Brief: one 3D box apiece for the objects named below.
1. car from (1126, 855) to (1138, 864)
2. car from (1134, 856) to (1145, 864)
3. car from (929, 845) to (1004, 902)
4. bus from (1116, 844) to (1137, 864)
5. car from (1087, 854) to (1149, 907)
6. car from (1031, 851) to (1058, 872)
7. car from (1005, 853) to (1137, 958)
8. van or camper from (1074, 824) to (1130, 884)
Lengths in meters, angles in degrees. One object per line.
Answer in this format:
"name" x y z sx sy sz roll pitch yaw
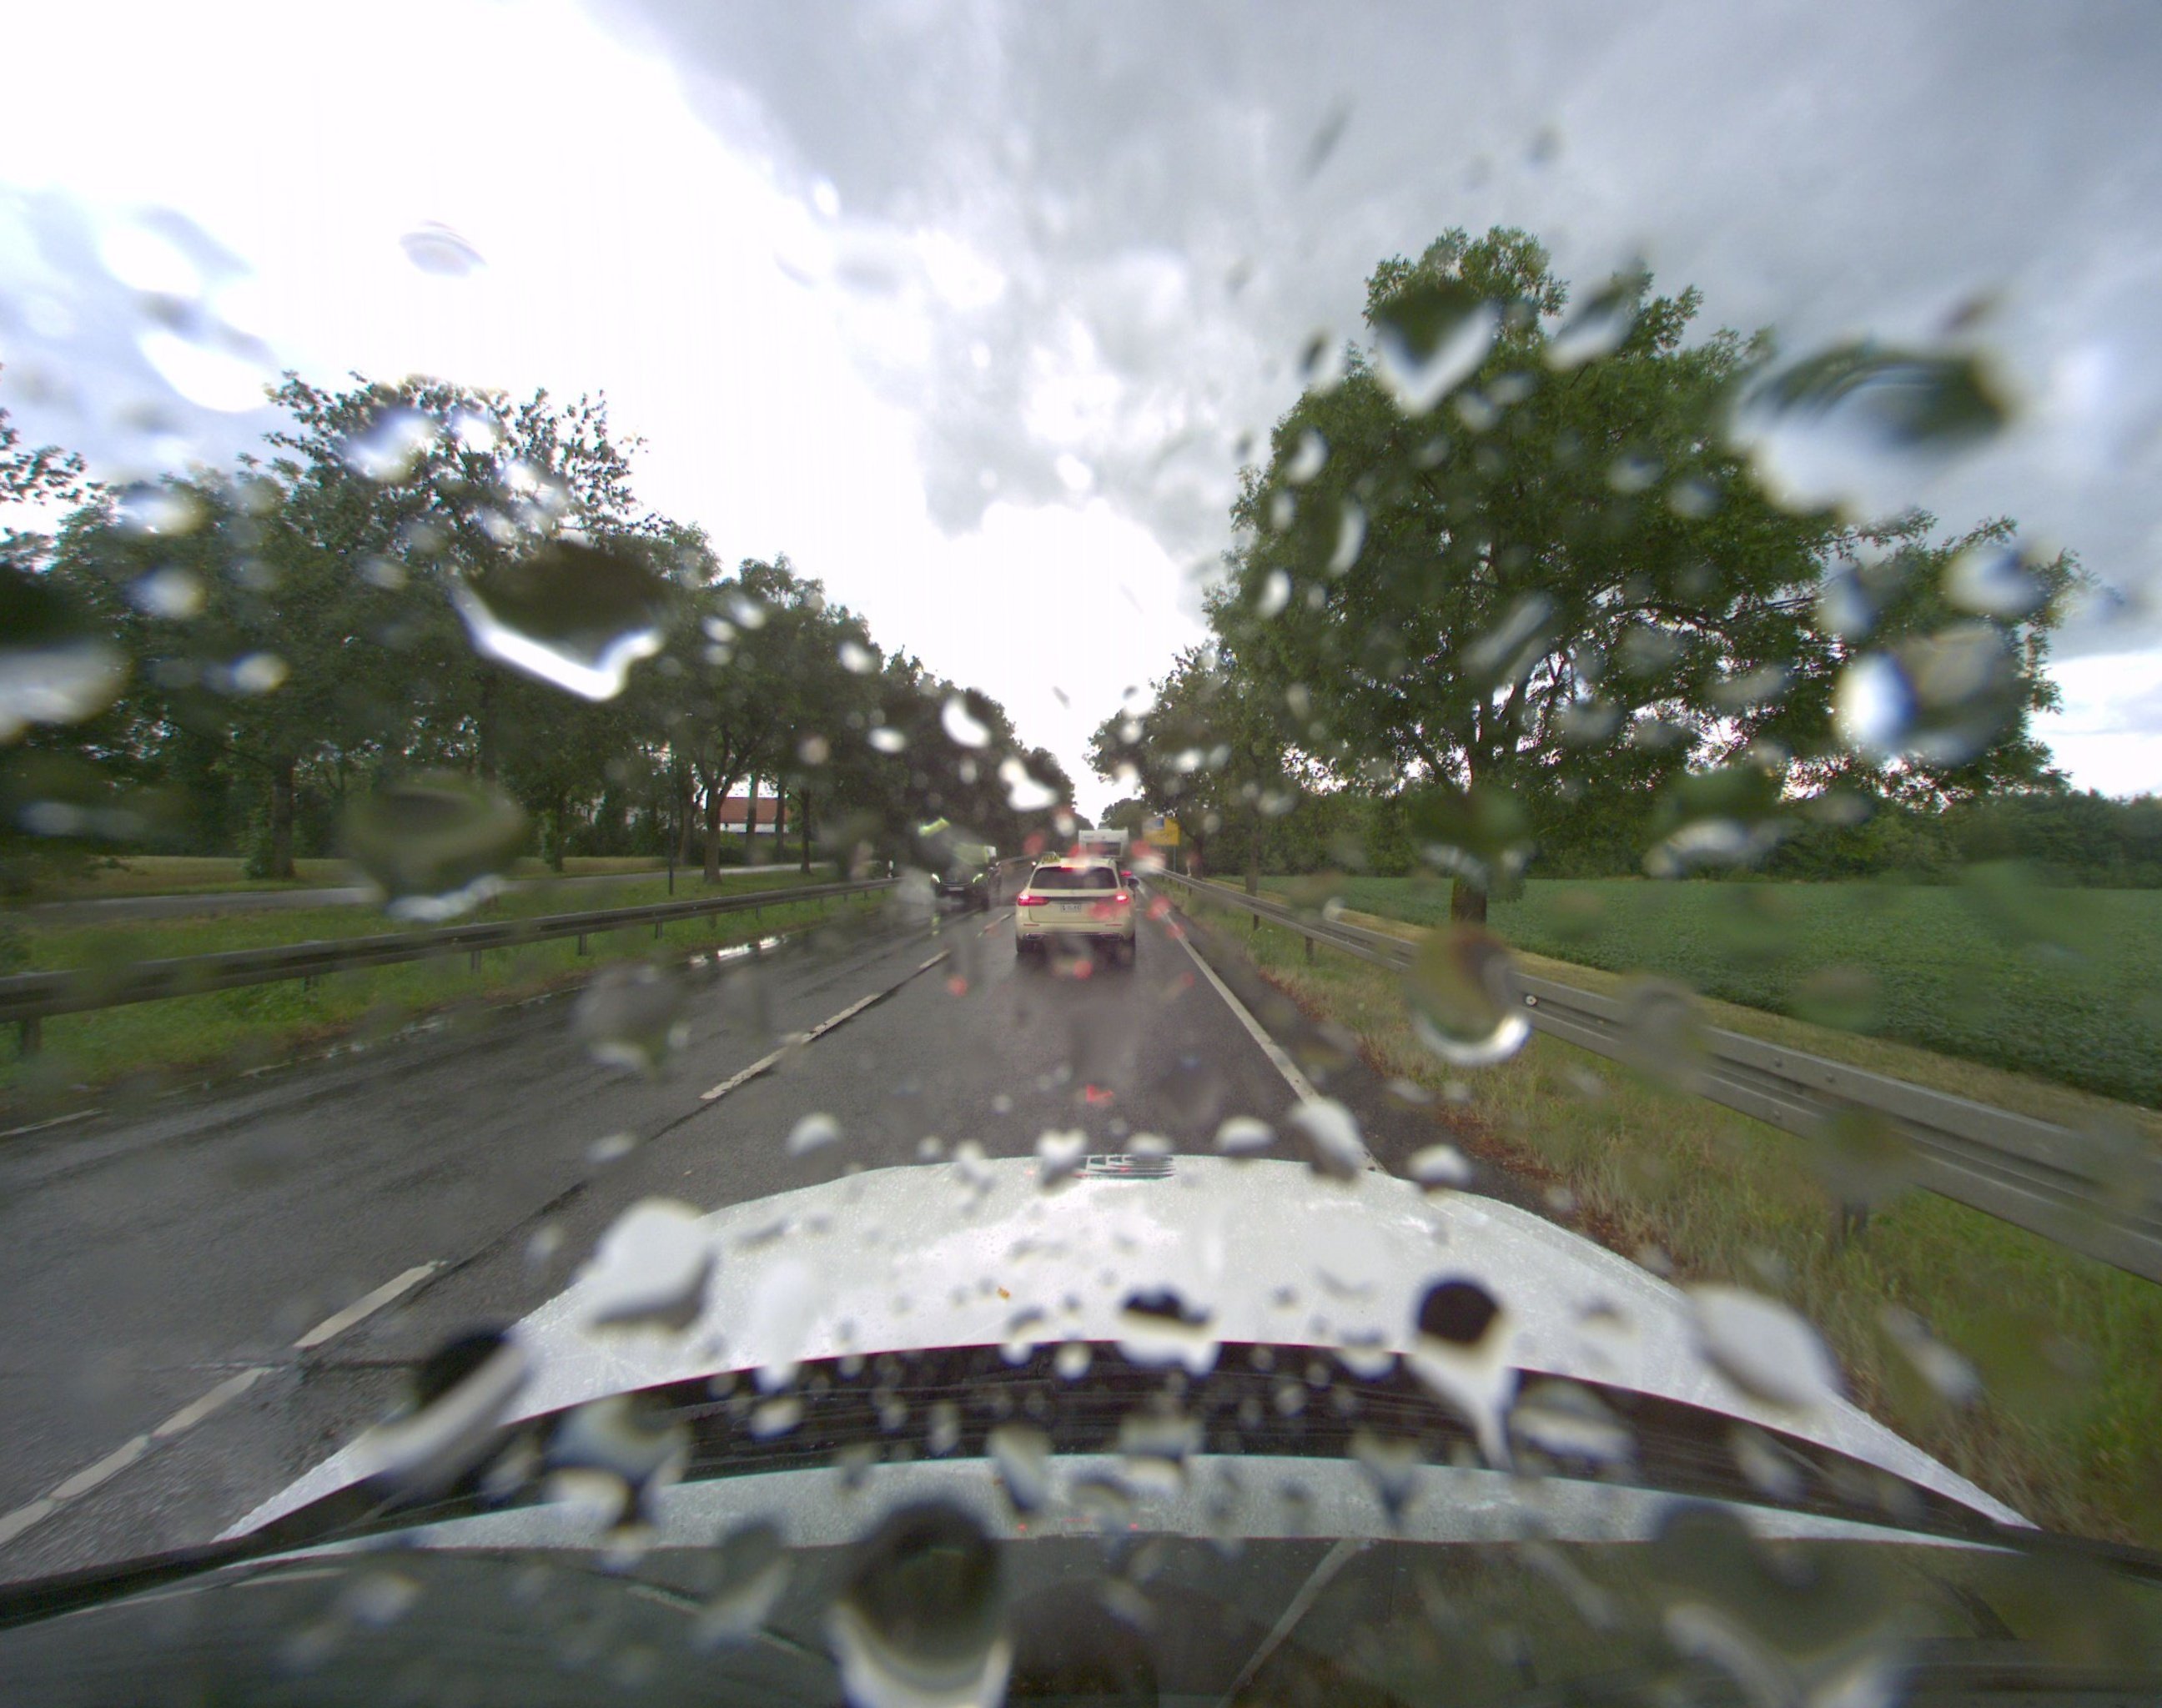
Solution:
"car" 6.812 0.704 108.954 1.546 1.118 4.001 0 0 2
"car" 8.423 0.822 118.031 1.545 1.118 4.003 0 0 3
"car" -3.868 0.624 28.189 1.821 1.802 4.416 -1 0 2
"bus" 4.741 -0.008 85.224 1.986 2.013 4.002 -1 0 2
"car" 1.129 0.729 24.303 1.657 1.430 4.003 -1 0 3
"car" -2.544 0.526 57.633 1.622 1.438 3.962 0 0 2
"car" -0.028 0.730 13.569 1.857 1.476 4.003 -1 0 3
"van or camper" 1.116 -0.008 39.141 2.479 2.685 5.705 0 0 3
